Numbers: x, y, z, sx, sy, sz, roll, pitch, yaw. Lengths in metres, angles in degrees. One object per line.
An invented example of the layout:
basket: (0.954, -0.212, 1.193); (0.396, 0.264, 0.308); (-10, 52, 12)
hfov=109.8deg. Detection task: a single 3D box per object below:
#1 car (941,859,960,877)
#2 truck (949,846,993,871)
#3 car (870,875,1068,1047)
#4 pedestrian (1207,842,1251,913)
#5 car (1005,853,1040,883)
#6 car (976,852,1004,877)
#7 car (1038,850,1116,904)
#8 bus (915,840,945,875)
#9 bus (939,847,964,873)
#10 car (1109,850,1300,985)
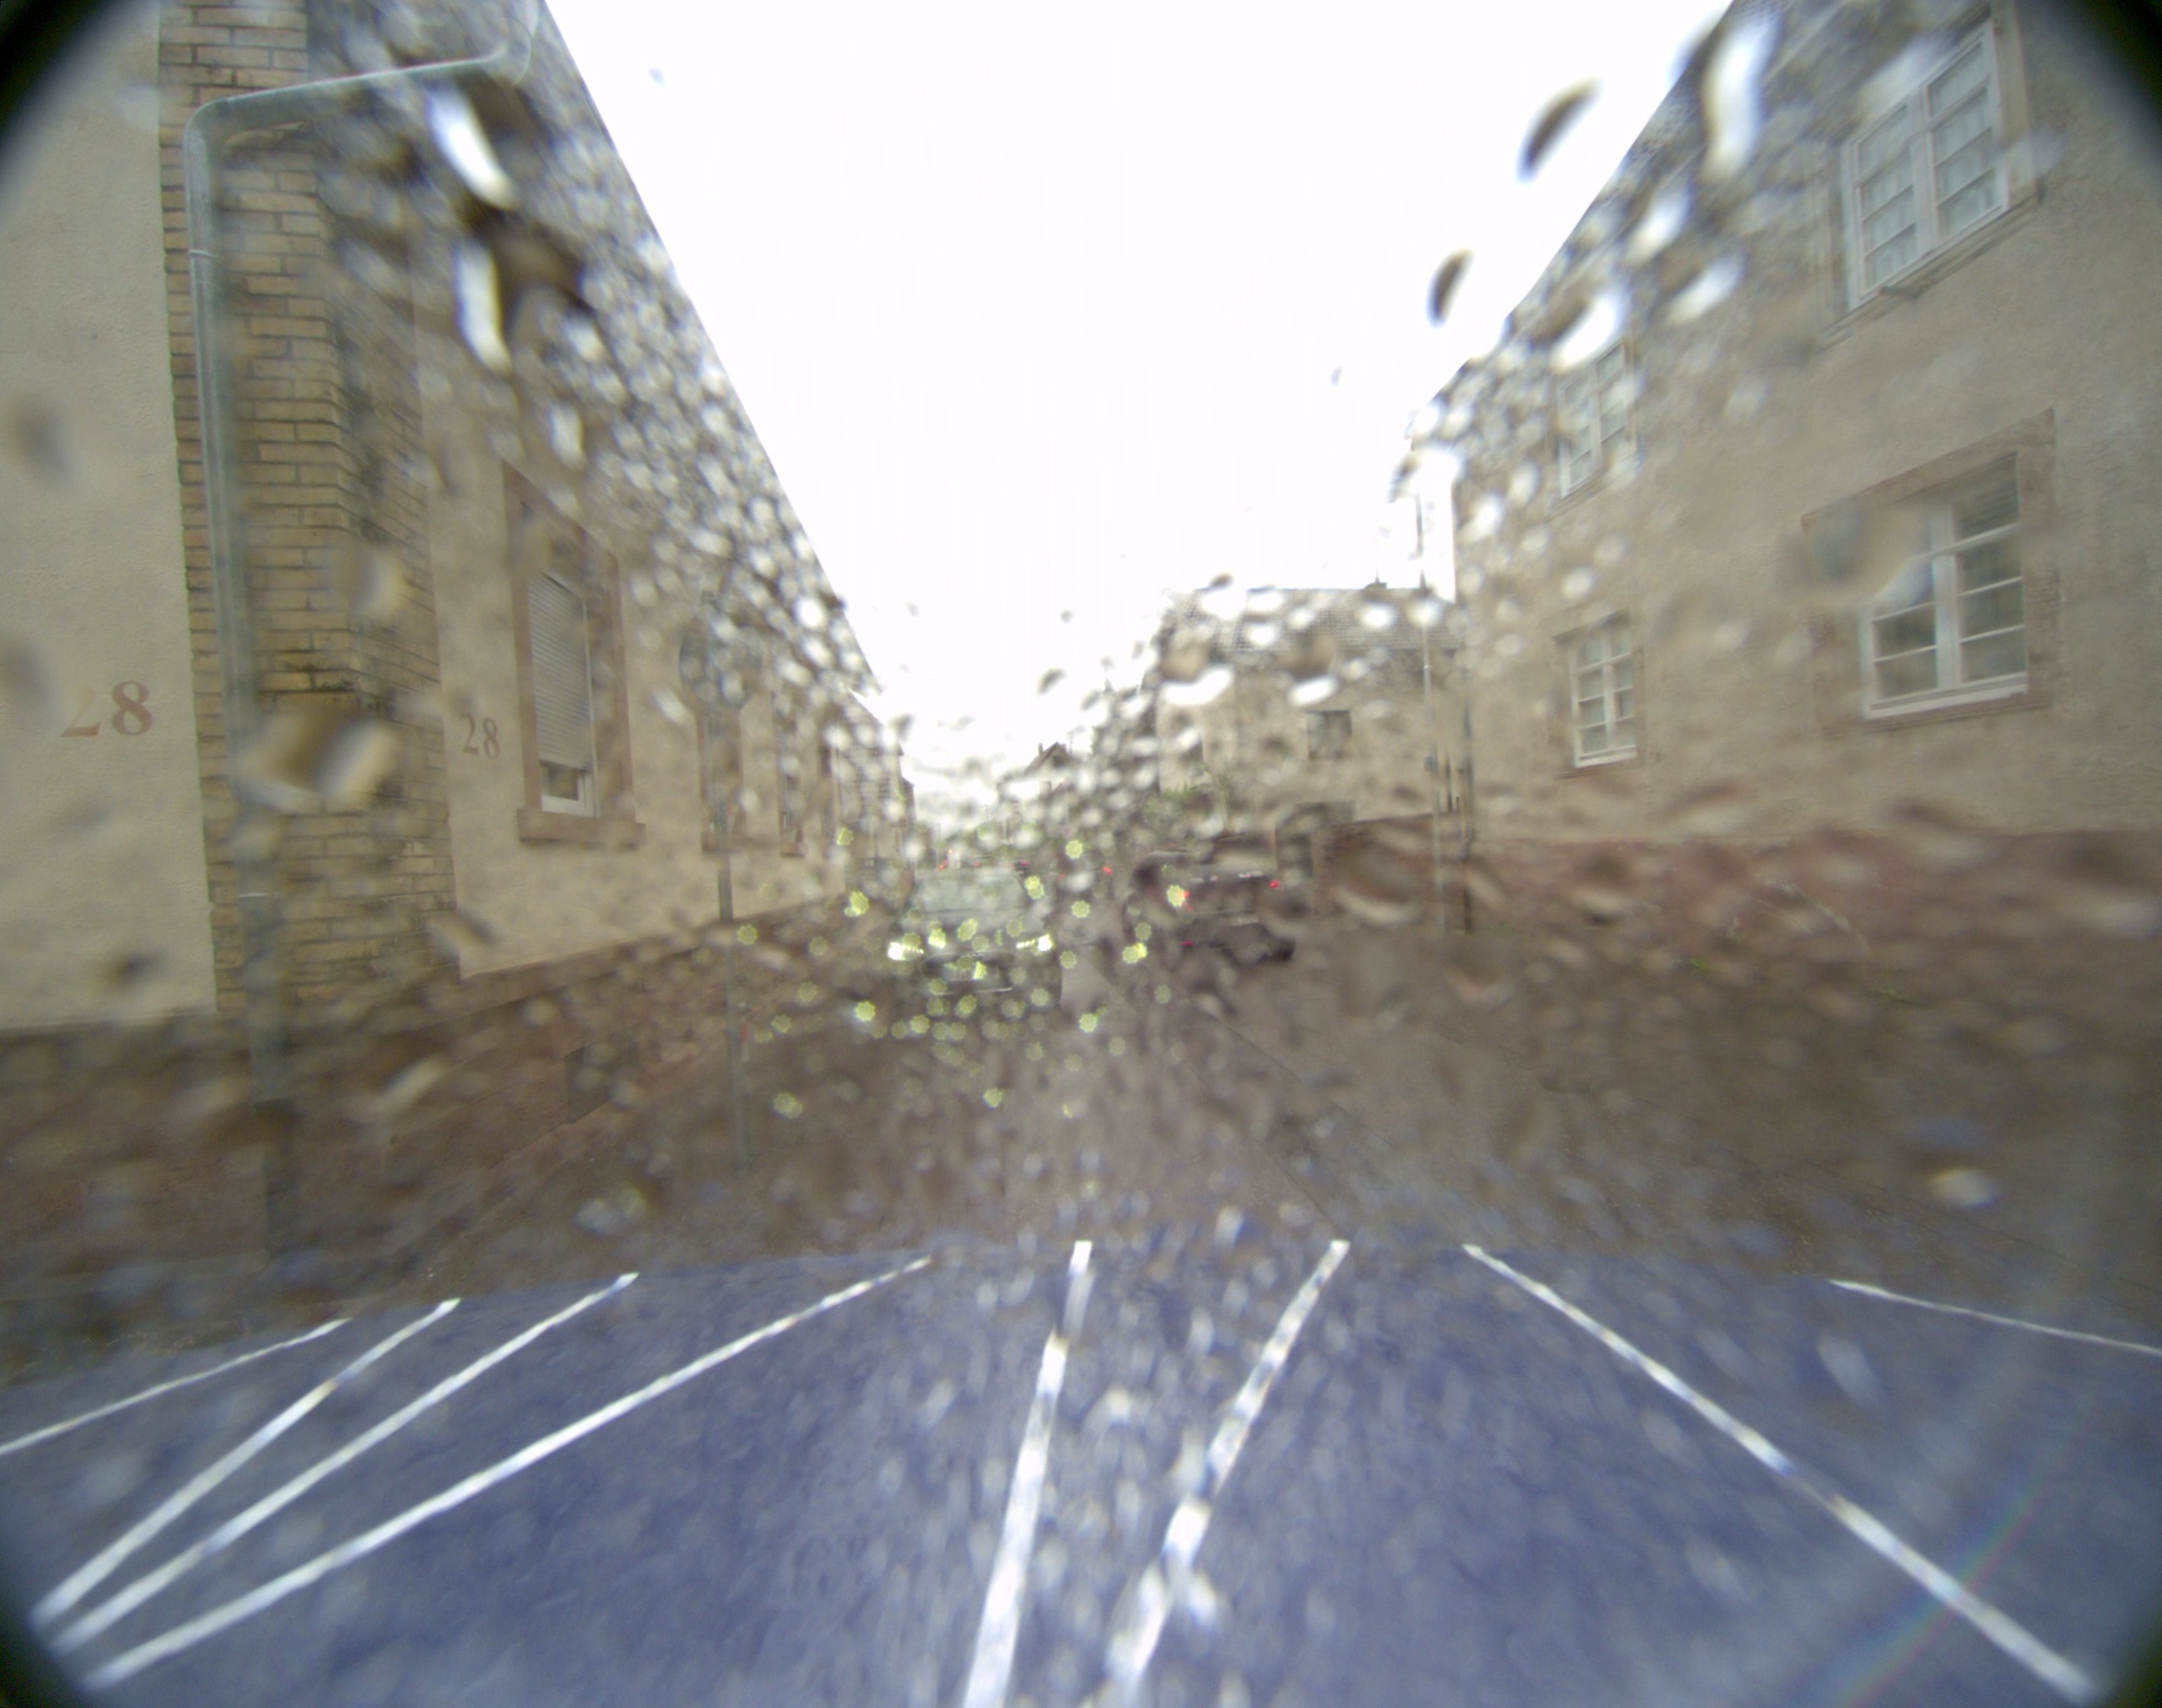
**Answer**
car: (-15.806, 1.636, 91.815); (2.001, 2.002, 3.995); (-2, 1, -13)
truck: (-12.035, 0.465, 83.572); (1.995, 2.490, 5.658); (-2, 1, 22)
car: (-1.328, 1.019, 8.978); (1.740, 1.363, 4.098); (-2, 0, -9)
pedestrian: (3.341, 0.515, 17.209); (0.574, 1.529, 0.832); (-5, 1, -12)
car: (-3.408, 0.752, 43.966); (1.627, 1.502, 3.790); (-6, 1, -8)
car: (-6.834, 0.741, 56.768); (1.786, 1.655, 4.422); (-5, 2, -8)
car: (-0.240, 0.654, 24.283); (1.702, 1.500, 4.337); (-2, 1, -11)
bus: (-15.629, 0.320, 78.477); (2.670, 3.213, 12.178); (-2, 1, -12)
bus: (-17.461, 0.723, 101.626); (2.670, 3.213, 12.178); (-2, 1, -12)
car: (1.565, 0.752, 10.927); (1.609, 1.504, 3.685); (-4, 1, -8)
